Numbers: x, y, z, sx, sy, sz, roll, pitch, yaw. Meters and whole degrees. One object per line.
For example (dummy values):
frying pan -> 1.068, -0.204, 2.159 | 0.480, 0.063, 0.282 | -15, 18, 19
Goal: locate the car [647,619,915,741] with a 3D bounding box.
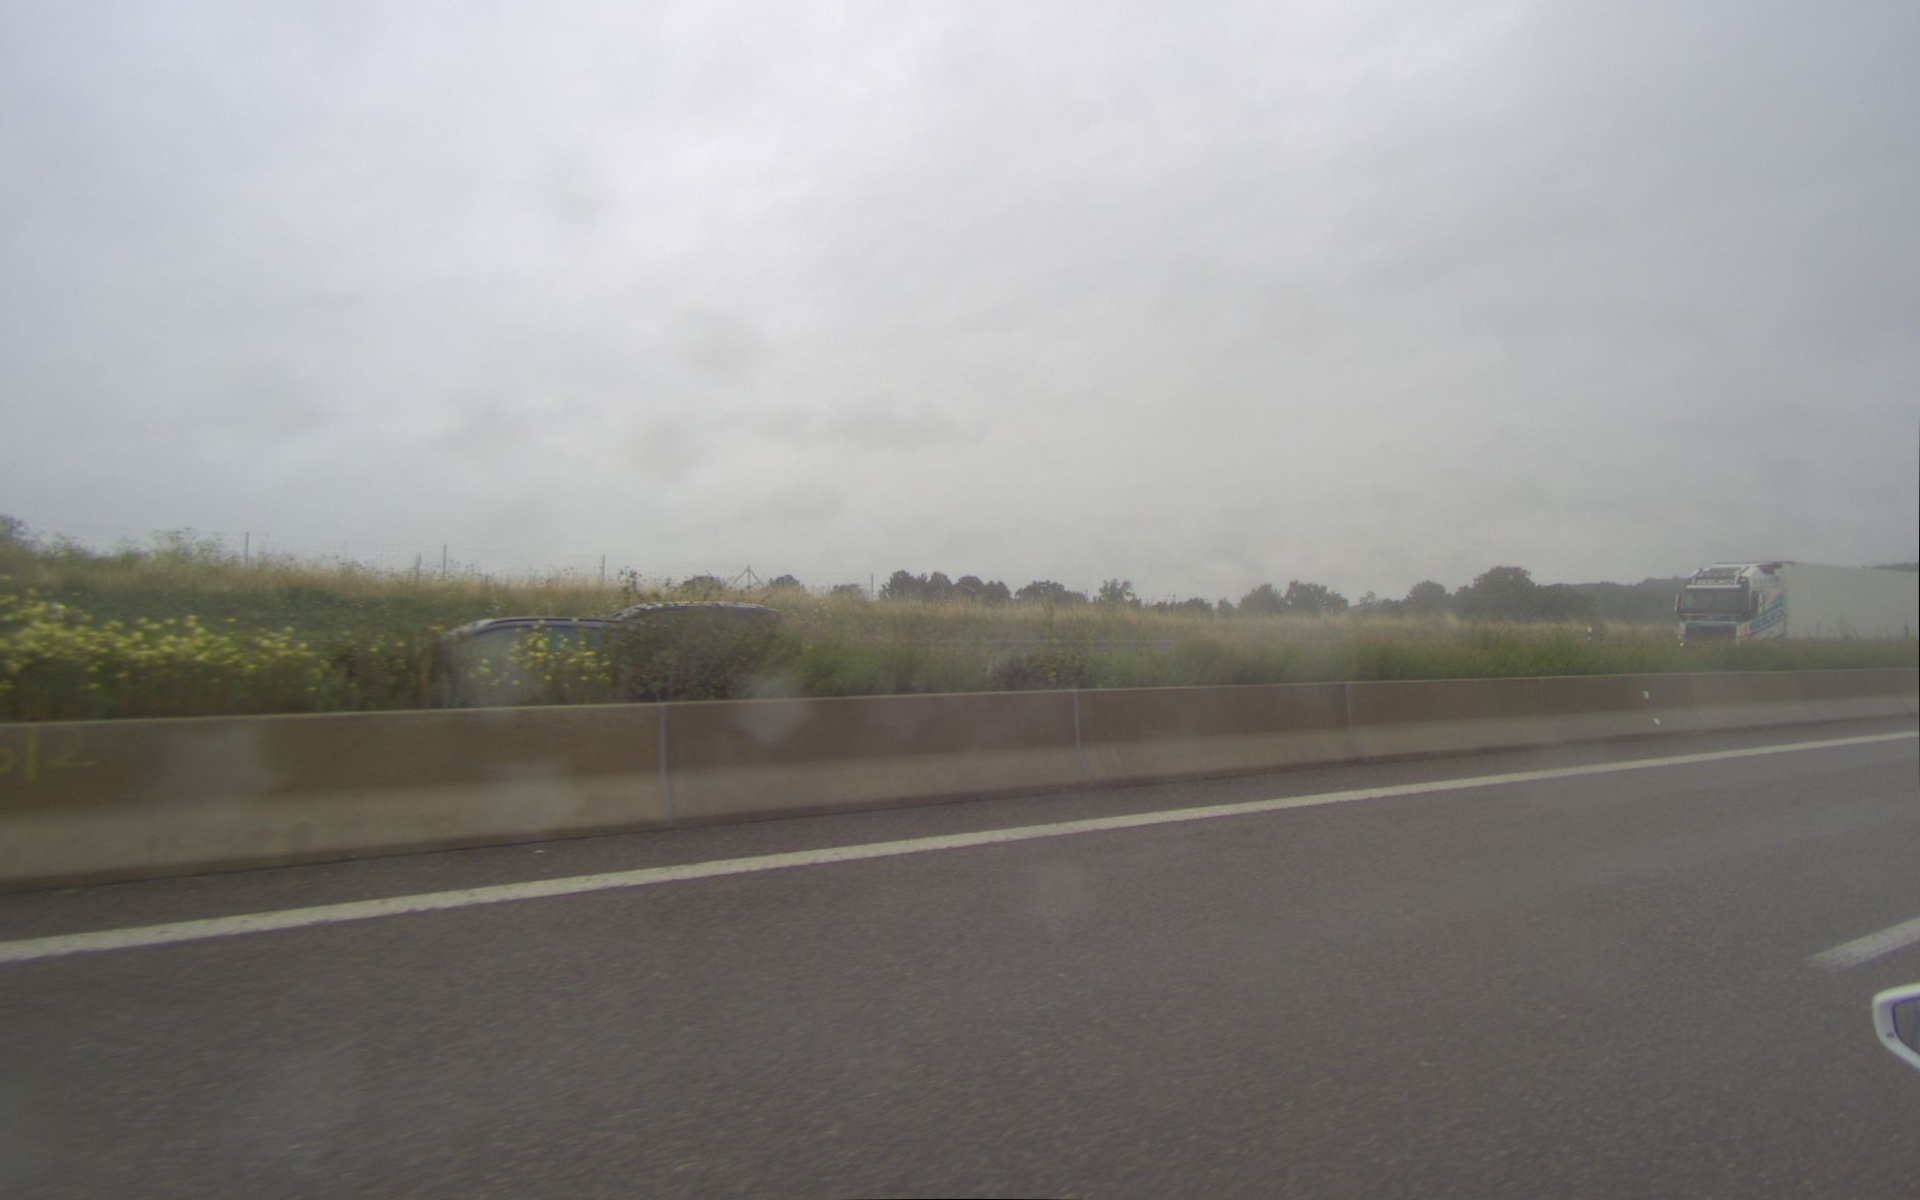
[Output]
car -> -2.244, 0.948, 12.772 | 3.084, 1.363, 1.344 | 1, -1, -30

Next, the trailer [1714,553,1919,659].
trailer -> 37.749, 0.383, 43.292 | 14.130, 4.035, 2.931 | 1, -1, -29

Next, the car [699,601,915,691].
car -> -2.464, 0.720, 16.291 | 3.173, 1.335, 1.417 | 1, -1, -30

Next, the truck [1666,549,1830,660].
truck -> 31.030, 0.228, 39.519 | 6.141, 4.047, 2.940 | 1, -1, -29
